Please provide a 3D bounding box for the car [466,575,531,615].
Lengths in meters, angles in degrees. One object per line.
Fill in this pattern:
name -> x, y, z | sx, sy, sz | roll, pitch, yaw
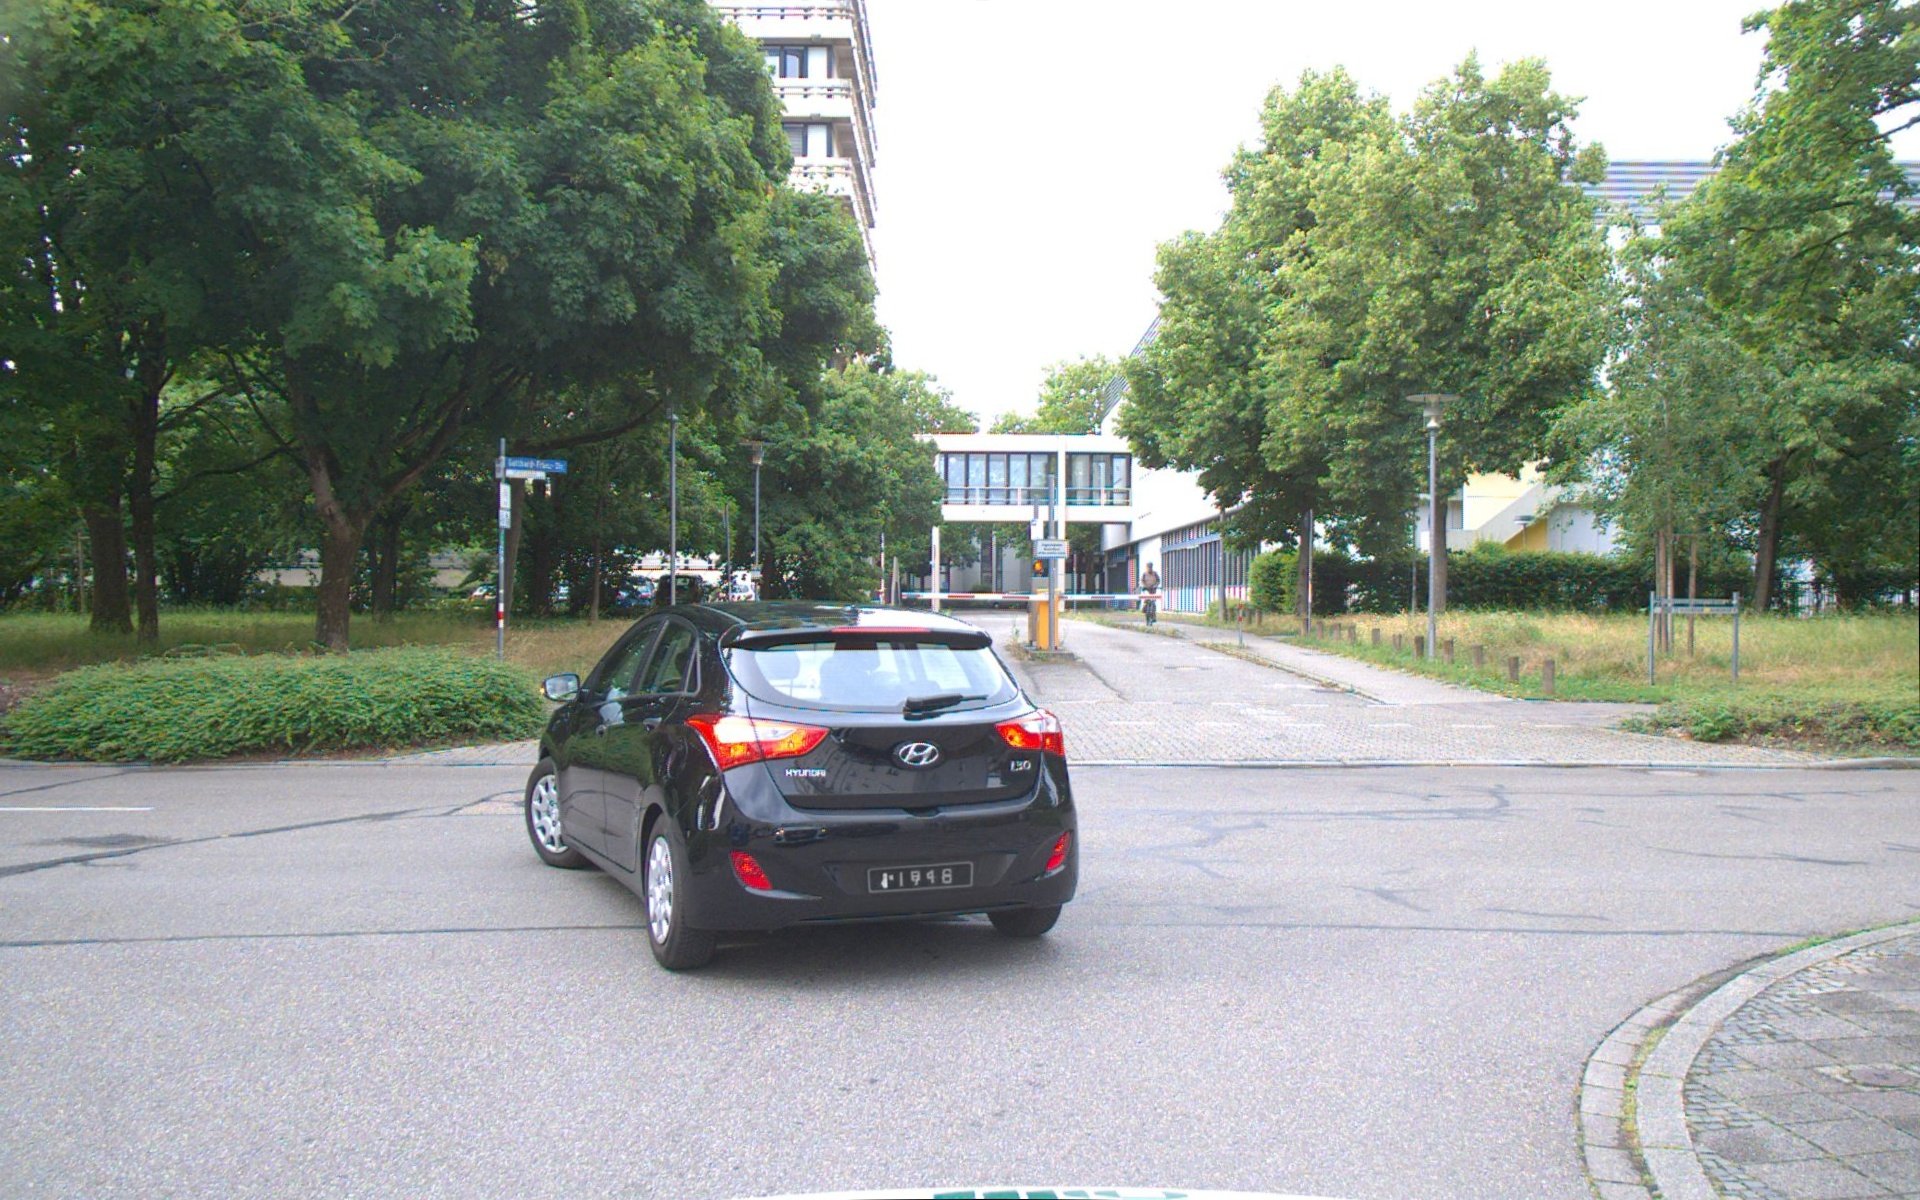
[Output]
car -> -19.514, -0.205, 70.136 | 1.955, 1.646, 3.996 | 0, 0, -5

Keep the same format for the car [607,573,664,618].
car -> -13.812, -0.164, 70.548 | 1.955, 1.825, 3.995 | 0, -1, -5

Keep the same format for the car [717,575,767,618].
car -> -9.312, -0.129, 70.730 | 1.955, 1.793, 3.995 | 0, -1, -5

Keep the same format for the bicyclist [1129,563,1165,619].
bicyclist -> 5.620, -0.281, 49.725 | 0.996, 1.673, 0.923 | 0, 1, -1

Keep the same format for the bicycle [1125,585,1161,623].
bicycle -> 5.503, 0.112, 49.853 | 0.849, 1.093, 2.141 | 0, 1, 0

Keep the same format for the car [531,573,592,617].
car -> -16.847, -0.188, 70.138 | 1.955, 1.758, 3.995 | 0, -1, -5

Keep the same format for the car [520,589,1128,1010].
car -> -0.905, 0.710, 7.976 | 1.821, 1.488, 3.800 | 0, 0, -23
